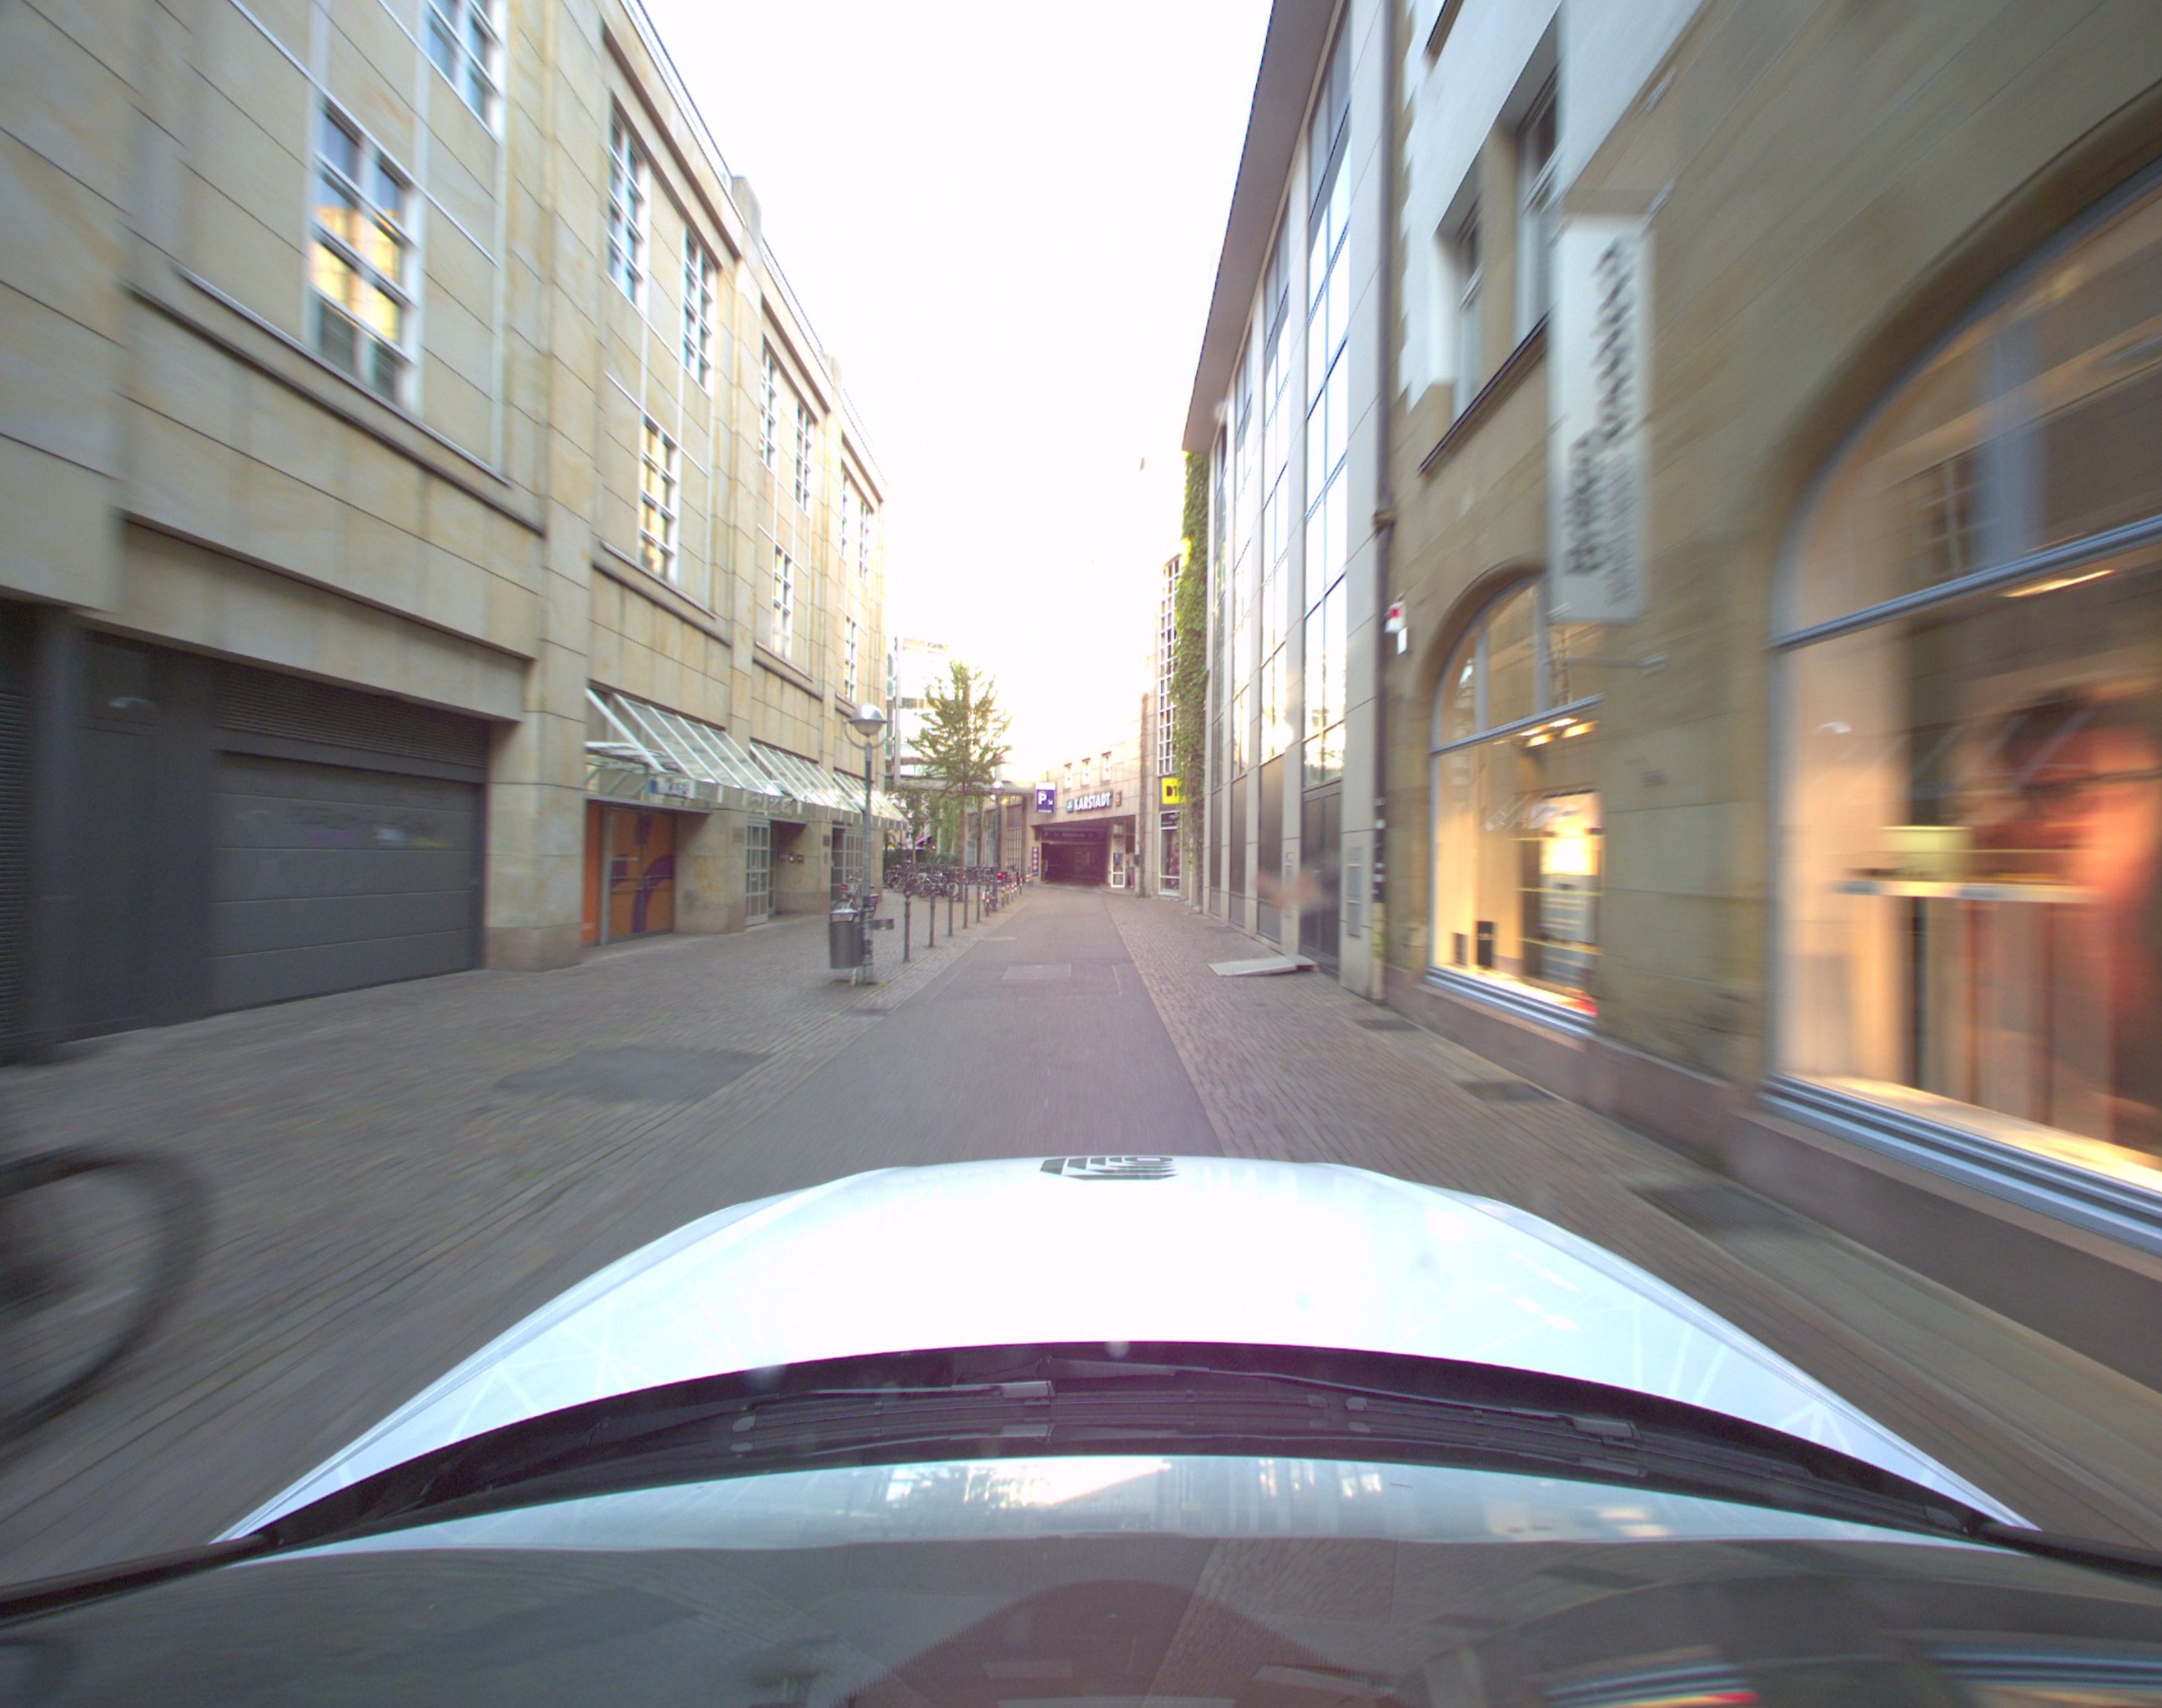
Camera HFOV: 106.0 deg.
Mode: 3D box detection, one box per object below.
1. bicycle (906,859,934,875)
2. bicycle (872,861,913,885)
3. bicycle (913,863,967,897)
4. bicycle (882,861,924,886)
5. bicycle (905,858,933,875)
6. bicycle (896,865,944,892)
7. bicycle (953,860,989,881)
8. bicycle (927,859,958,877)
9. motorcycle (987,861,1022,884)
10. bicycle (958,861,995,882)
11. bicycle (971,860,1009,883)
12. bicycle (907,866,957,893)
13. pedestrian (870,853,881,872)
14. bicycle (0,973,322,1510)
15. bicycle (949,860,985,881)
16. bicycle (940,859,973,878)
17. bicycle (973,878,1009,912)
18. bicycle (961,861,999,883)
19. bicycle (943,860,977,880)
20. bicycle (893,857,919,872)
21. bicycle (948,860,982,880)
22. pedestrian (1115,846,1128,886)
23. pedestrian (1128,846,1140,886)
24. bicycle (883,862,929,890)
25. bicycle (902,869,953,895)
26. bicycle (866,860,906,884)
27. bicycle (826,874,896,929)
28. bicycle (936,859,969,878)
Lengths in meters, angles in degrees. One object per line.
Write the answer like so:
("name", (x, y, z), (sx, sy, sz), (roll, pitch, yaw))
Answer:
("bicycle", (-12.144, 0.966, 61.461), (2.000, 1.182, 0.689), (-1, 0, -20))
("bicycle", (-9.268, 0.935, 39.952), (1.918, 1.182, 0.692), (1, 0, -17))
("bicycle", (-5.394, 0.971, 31.154), (1.919, 1.261, 0.803), (1, 0, -21))
("bicycle", (-8.556, 0.942, 39.223), (1.918, 1.182, 0.692), (1, 0, -17))
("bicycle", (-12.418, 0.953, 62.268), (2.000, 1.182, 0.689), (-1, 0, -20))
("bicycle", (-6.862, 1.033, 34.652), (1.918, 1.101, 0.692), (1, 0, -17))
("bicycle", (-6.466, 0.980, 47.883), (2.000, 1.182, 0.797), (-1, 0, -20))
("bicycle", (-9.504, 0.924, 55.835), (2.000, 1.182, 0.689), (-1, 0, -20))
("motorcycle", (-4.072, 0.995, 43.367), (1.750, 1.155, 0.591), (-1, 0, -17))
("bicycle", (-6.015, 0.997, 46.755), (2.000, 1.182, 0.797), (-1, 0, -20))
("bicycle", (-5.036, 0.972, 45.029), (2.000, 1.182, 0.691), (-1, 0, -20))
("bicycle", (-6.130, 1.049, 33.475), (1.919, 1.101, 0.691), (1, 0, -21))
("pedestrian", (-16.389, 0.660, 64.919), (0.751, 1.509, 0.633), (0, -1, -22))
("bicycle", (-2.715, 0.963, 1.753), (0.409, 1.132, 1.929), (1, 0, -3))
("bicycle", (-6.902, 0.997, 49.331), (2.000, 1.182, 0.797), (-1, 0, -20))
("bicycle", (-8.007, 0.934, 52.422), (2.000, 1.182, 0.689), (-1, 0, -20))
("bicycle", (-2.720, 1.224, 24.835), (0.501, 0.966, 1.701), (0, 0, 15))
("bicycle", (-5.676, 1.014, 45.879), (2.000, 1.182, 0.691), (-1, 0, -20))
("bicycle", (-7.586, 0.997, 51.191), (2.000, 1.182, 0.689), (-1, 0, -20))
("bicycle", (-14.301, 0.873, 66.730), (2.000, 1.182, 0.689), (-1, 0, -20))
("bicycle", (-7.161, 0.997, 50.315), (2.000, 1.182, 0.689), (-1, 0, -20))
("pedestrian", (1.890, 0.546, 38.151), (0.540, 1.846, 0.409), (1, 0, 6))
("pedestrian", (2.477, 0.556, 37.922), (0.540, 1.861, 0.409), (1, 0, 6))
("bicycle", (-7.627, 0.952, 35.542), (1.918, 1.182, 0.692), (1, 0, -17))
("bicycle", (-6.134, 1.111, 32.556), (1.919, 0.994, 0.691), (1, 0, -21))
("bicycle", (-9.833, 0.926, 40.986), (1.918, 1.182, 0.692), (1, 0, -17))
("bicycle", (-4.827, 1.011, 17.987), (0.688, 1.112, 1.784), (0, 0, 15))
("bicycle", (-8.451, 0.967, 53.490), (2.000, 1.182, 0.689), (-1, 0, -20))
